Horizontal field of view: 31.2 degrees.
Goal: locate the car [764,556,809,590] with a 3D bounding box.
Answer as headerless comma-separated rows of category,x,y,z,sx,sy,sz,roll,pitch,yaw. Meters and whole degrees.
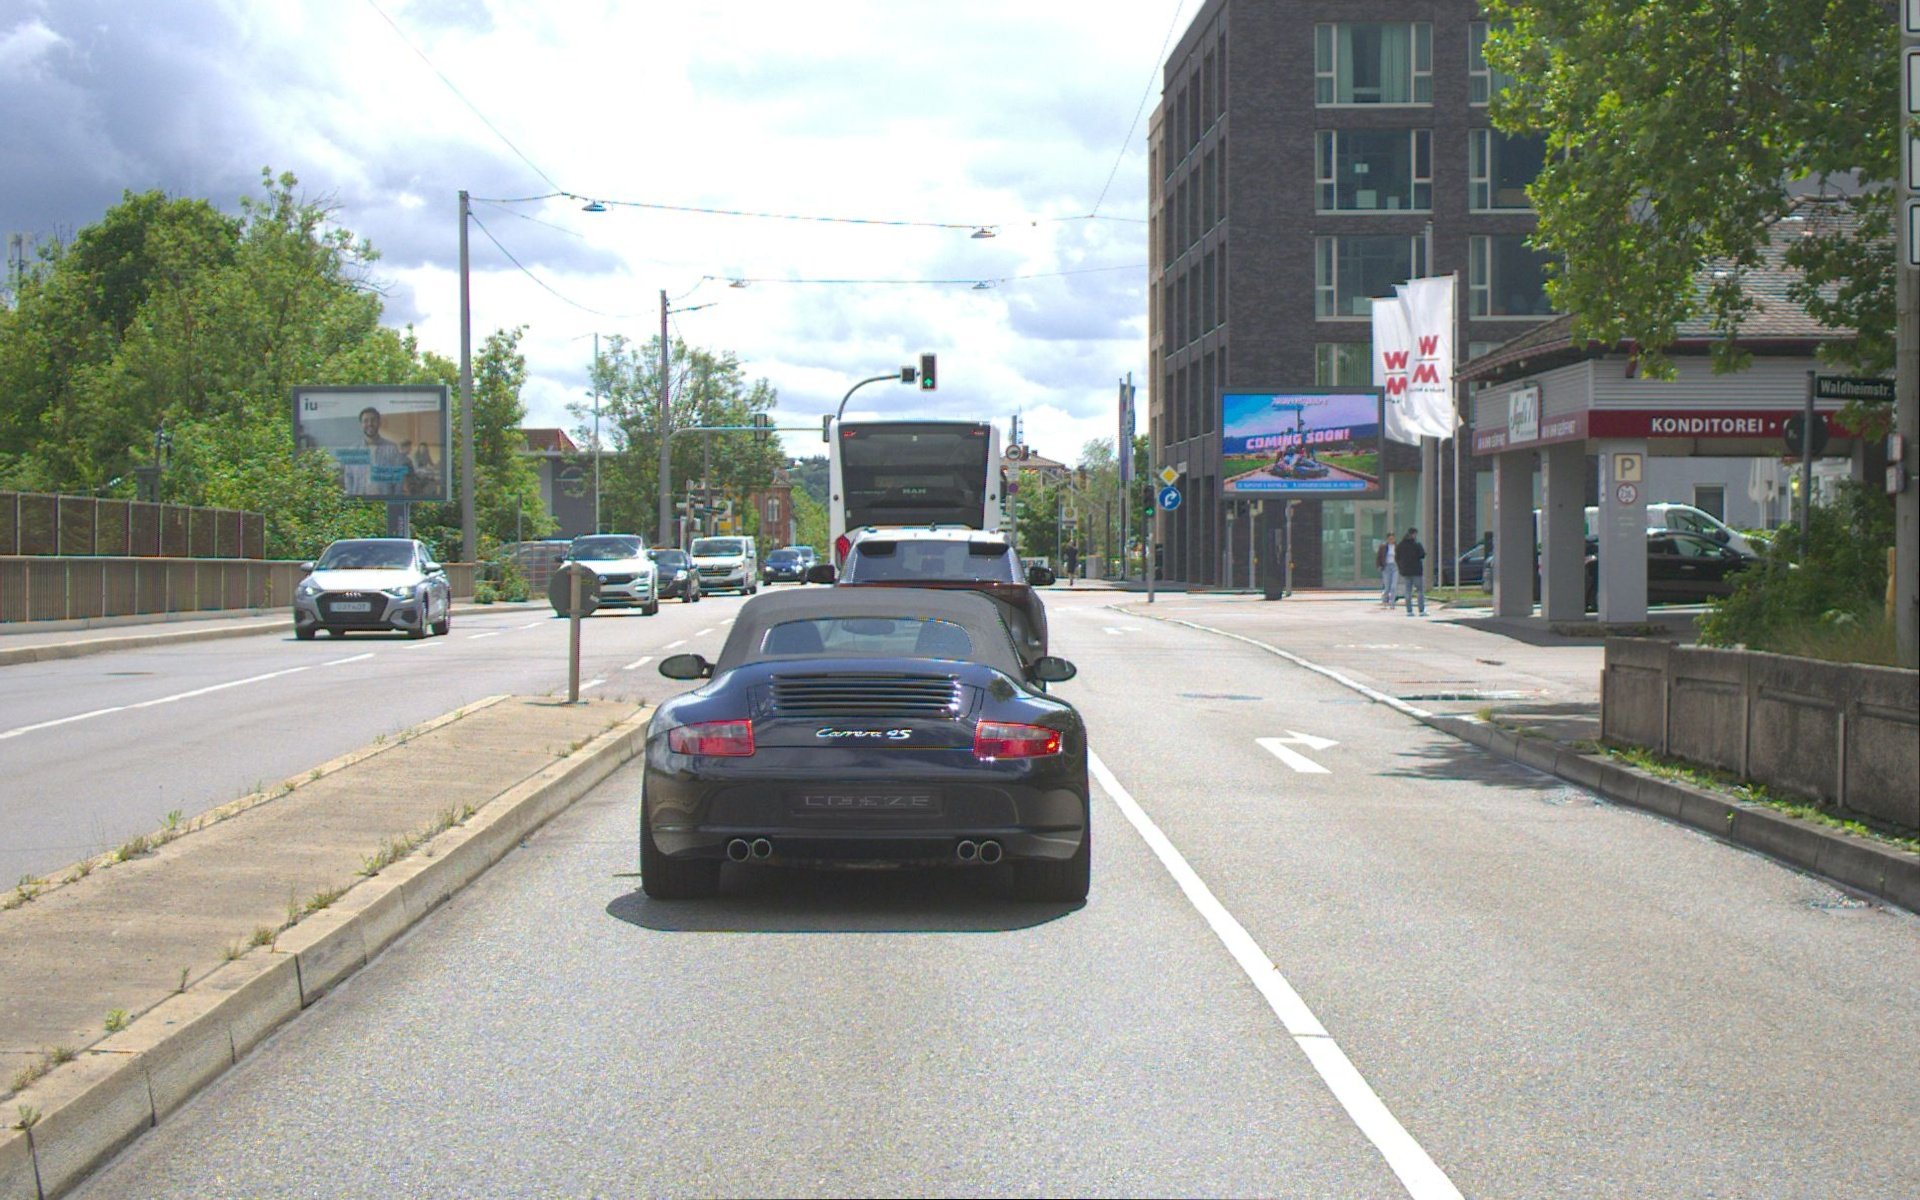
car,-7.184,-1.123,142.388,1.662,1.411,3.803,0,1,0

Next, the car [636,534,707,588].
car,-7.835,-1.069,93.539,1.628,1.425,4.000,0,1,0

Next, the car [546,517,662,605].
car,-6.622,-0.743,64.325,1.810,1.555,4.208,1,1,-1

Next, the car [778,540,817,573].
car,-7.595,-2.037,160.819,1.662,1.542,3.803,0,1,0

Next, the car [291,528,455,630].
car,-8.264,-0.328,48.710,1.637,1.358,4.195,0,1,-1

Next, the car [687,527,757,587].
car,-7.781,-1.411,112.758,1.901,1.880,5.313,-2,1,0

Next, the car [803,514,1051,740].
car,-0.304,0.160,28.747,1.879,1.588,4.230,2,3,-1

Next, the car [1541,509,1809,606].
car,12.631,-0.740,60.918,4.300,1.508,1.846,-2,0,0

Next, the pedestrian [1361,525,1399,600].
pedestrian,9.564,-0.860,78.279,0.707,1.690,0.924,0,1,-3

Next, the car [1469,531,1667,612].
car,12.670,-0.600,71.809,3.759,1.436,1.719,-3,1,1

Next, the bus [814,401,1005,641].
bus,-0.692,-1.499,56.216,2.689,3.244,12.060,2,4,0

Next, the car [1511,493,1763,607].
car,12.540,-0.927,63.887,4.230,1.930,2.029,-2,1,1

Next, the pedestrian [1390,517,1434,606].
pedestrian,8.652,-0.744,65.758,0.681,1.690,0.597,1,1,25

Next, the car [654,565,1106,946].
car,-0.347,0.581,15.310,1.719,1.270,4.089,1,3,-1
